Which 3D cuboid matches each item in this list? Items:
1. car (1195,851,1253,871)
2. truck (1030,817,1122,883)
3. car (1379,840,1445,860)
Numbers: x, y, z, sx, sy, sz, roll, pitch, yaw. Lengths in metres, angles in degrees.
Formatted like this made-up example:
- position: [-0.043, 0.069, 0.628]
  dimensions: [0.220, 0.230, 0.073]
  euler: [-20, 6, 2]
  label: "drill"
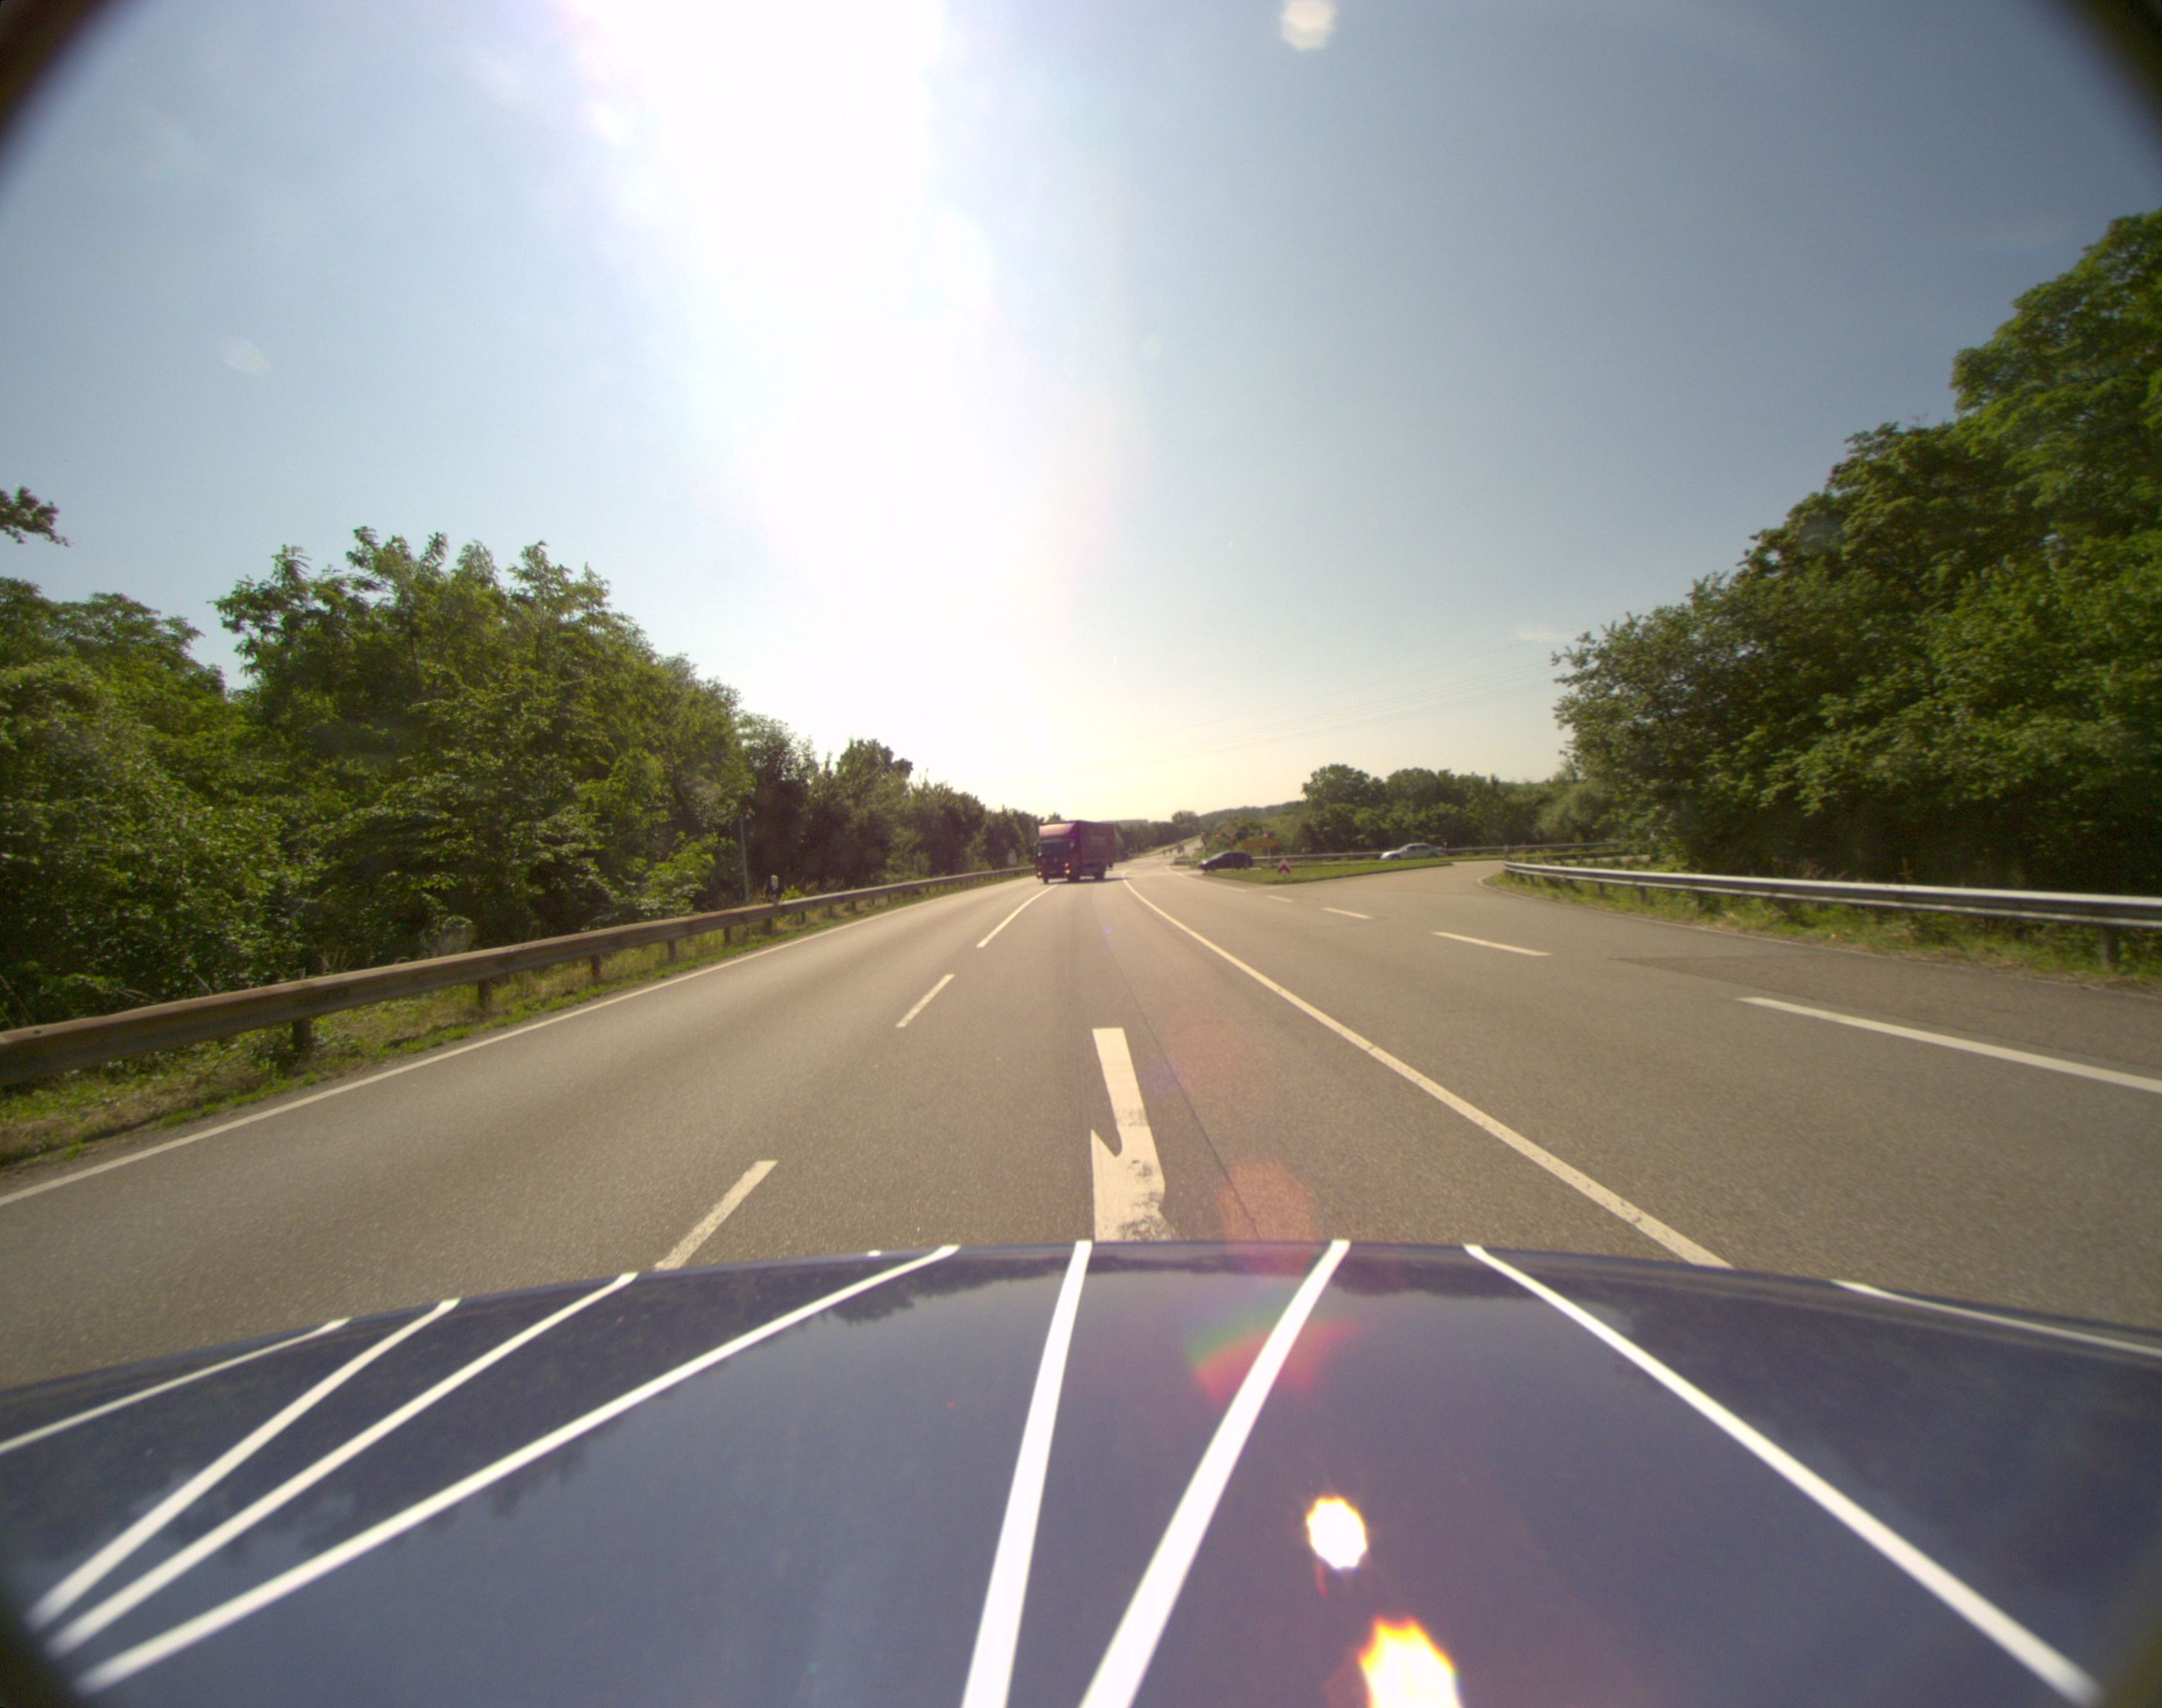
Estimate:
- position: [11.100, 0.528, 59.088]
  dimensions: [4.001, 1.406, 1.787]
  euler: [-2, 0, -12]
  label: "car"
- position: [-0.079, -0.285, 47.824]
  dimensions: [2.686, 3.640, 9.274]
  euler: [-2, 0, 19]
  label: "truck"
- position: [25.767, -0.292, 59.231]
  dimensions: [4.371, 1.377, 1.790]
  euler: [-2, 0, 10]
  label: "car"
